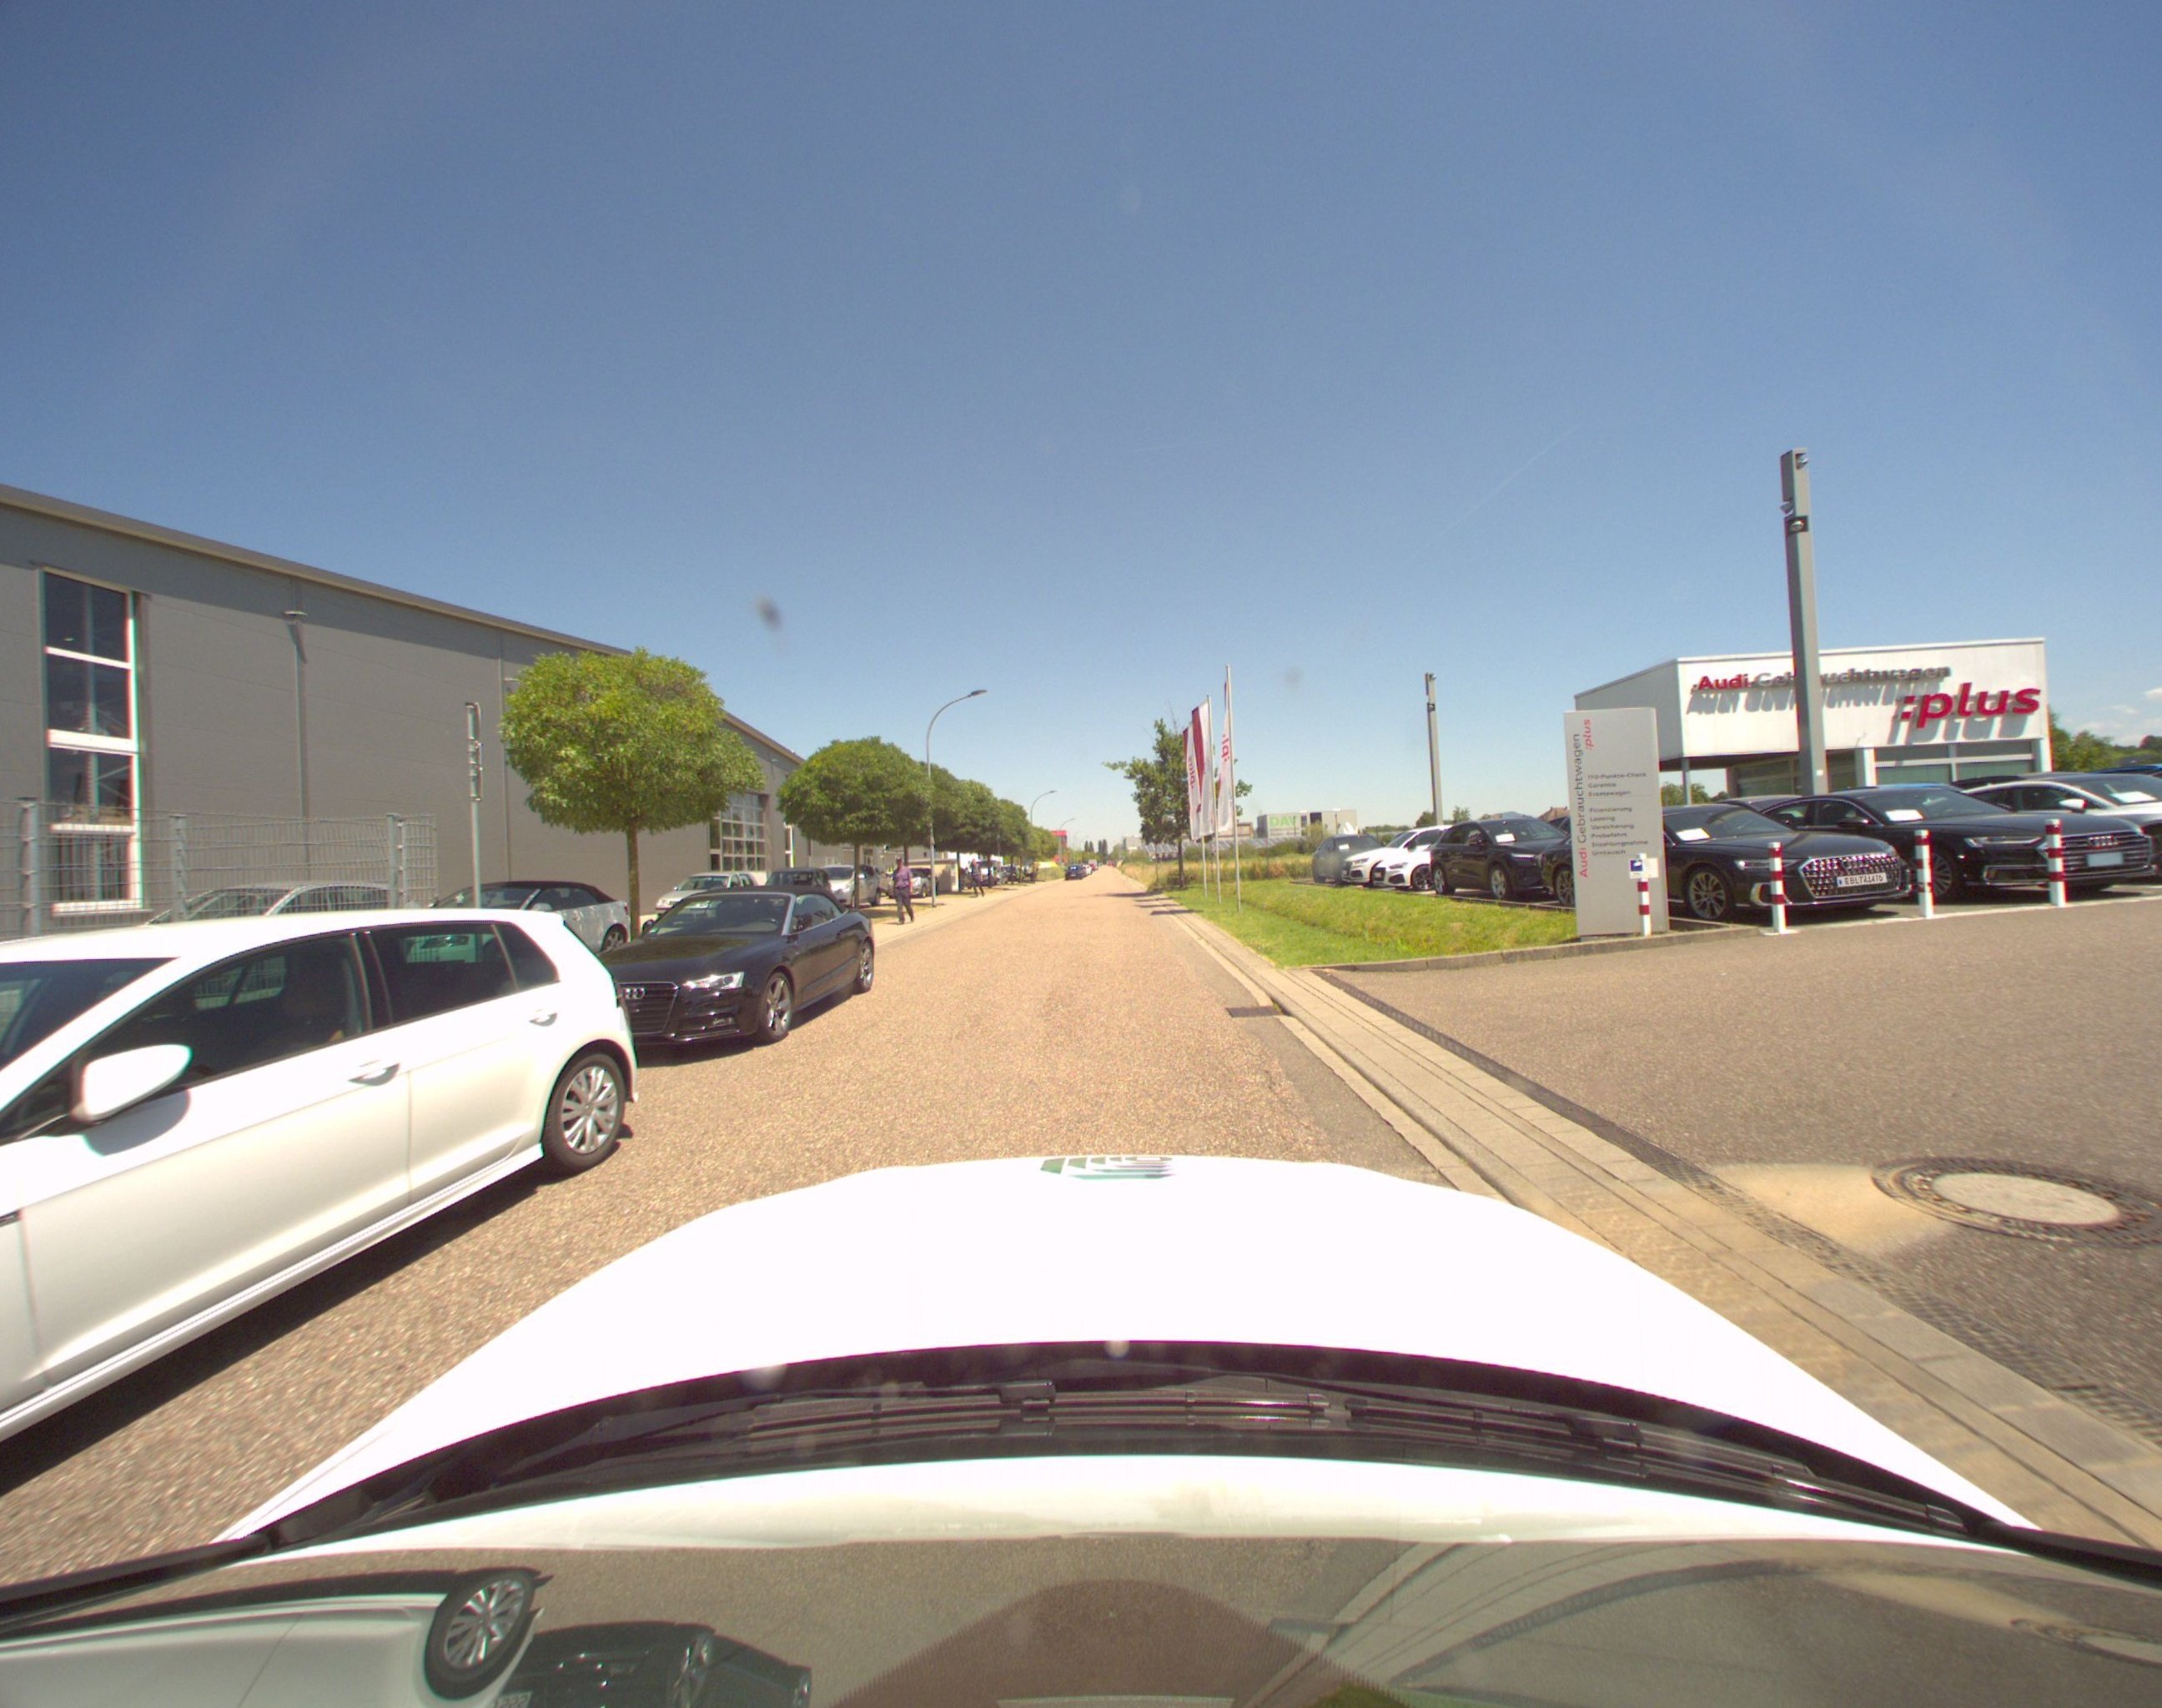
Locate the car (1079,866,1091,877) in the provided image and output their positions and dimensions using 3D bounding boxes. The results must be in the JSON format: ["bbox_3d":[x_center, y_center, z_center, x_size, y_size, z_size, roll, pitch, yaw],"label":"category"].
[{"bbox_3d":[0.642,2.713,127.627,1.780,1.520,3.984,-3,-1,2],"label":"car"}]

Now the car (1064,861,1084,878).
[{"bbox_3d":[-0.746,1.583,84.950,1.920,1.567,4.190,-3,-1,1],"label":"car"}]

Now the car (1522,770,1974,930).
[{"bbox_3d":[8.558,-0.016,11.342,2.017,1.514,5.242,-6,-1,2],"label":"car"}]

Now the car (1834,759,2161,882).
[{"bbox_3d":[13.994,-0.483,11.502,2.017,1.456,5.080,-6,-1,2],"label":"car"}]

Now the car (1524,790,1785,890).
[{"bbox_3d":[11.365,-0.223,16.681,2.017,1.590,4.781,-4,-1,2],"label":"car"}]

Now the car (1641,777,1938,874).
[{"bbox_3d":[14.251,-0.485,16.879,2.017,1.590,4.781,-4,-1,2],"label":"car"}]

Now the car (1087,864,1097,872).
[{"bbox_3d":[2.290,2.932,167.475,1.780,1.520,3.984,-3,-1,2],"label":"car"}]

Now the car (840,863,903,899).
[{"bbox_3d":[-10.304,1.299,40.345,1.728,1.628,4.351,-1,-1,3],"label":"car"}]

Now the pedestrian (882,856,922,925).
[{"bbox_3d":[-4.760,0.957,21.760,0.741,1.802,1.136,-1,-1,3],"label":"pedestrian"}]

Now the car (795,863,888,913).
[{"bbox_3d":[-8.363,1.134,28.855,1.758,1.573,4.542,-1,-1,2],"label":"car"}]

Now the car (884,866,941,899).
[{"bbox_3d":[-8.142,1.357,39.713,1.758,1.453,3.842,-1,-1,3],"label":"car"}]

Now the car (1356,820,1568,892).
[{"bbox_3d":[9.828,0.055,21.261,4.515,1.457,2.031,-4,-1,-1],"label":"car"}]

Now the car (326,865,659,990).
[{"bbox_3d":[-8.826,0.993,12.808,1.816,1.500,4.331,-3,-1,4],"label":"car"}]

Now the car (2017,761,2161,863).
[{"bbox_3d":[16.680,-0.712,11.095,2.017,1.456,5.080,-6,-1,2],"label":"car"}]

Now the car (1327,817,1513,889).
[{"bbox_3d":[9.854,-0.017,23.934,4.515,1.692,2.031,-4,-1,-1],"label":"car"}]

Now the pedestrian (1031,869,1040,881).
[{"bbox_3d":[-4.346,1.959,77.161,0.747,1.099,0.647,0,-1,5],"label":"pedestrian"}]

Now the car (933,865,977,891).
[{"bbox_3d":[-7.668,1.420,49.948,1.759,1.453,4.716,-3,-1,2],"label":"car"}]

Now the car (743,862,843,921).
[{"bbox_3d":[-8.316,1.027,23.805,1.679,1.500,3.700,-3,-1,-3],"label":"car"}]

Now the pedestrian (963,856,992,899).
[{"bbox_3d":[-4.821,1.070,37.974,0.832,1.972,0.971,-2,-1,41],"label":"pedestrian"}]

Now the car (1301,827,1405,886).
[{"bbox_3d":[9.249,0.106,28.196,2.016,1.692,5.112,-4,-1,3],"label":"car"}]

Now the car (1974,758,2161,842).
[{"bbox_3d":[22.526,-1.175,17.226,2.017,1.590,4.781,-4,-1,2],"label":"car"}]

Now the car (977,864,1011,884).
[{"bbox_3d":[-7.031,1.674,66.411,1.919,1.441,4.844,-3,-2,3],"label":"car"}]

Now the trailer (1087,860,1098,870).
[{"bbox_3d":[2.551,2.372,178.906,2.193,2.137,4.287,-3,-1,2],"label":"trailer"}]

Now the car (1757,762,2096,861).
[{"bbox_3d":[16.901,-0.735,16.764,2.017,1.590,4.781,-4,-1,2],"label":"car"}]

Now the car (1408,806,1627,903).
[{"bbox_3d":[8.699,0.028,16.836,2.017,1.573,4.781,-4,-1,2],"label":"car"}]

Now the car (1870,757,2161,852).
[{"bbox_3d":[19.786,-0.949,16.992,2.017,1.590,4.781,-4,-1,2],"label":"car"}]

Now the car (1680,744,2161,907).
[{"bbox_3d":[11.156,-0.303,11.165,1.889,1.573,5.478,-6,-1,2],"label":"car"}]

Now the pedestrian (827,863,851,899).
[{"bbox_3d":[-11.849,1.309,39.856,0.837,1.713,0.965,-1,-1,1],"label":"pedestrian"}]

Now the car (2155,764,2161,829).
[{"bbox_3d":[27.507,-1.519,17.700,2.017,1.590,4.781,-4,-1,2],"label":"car"}]

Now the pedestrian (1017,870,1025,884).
[{"bbox_3d":[-4.927,1.879,66.851,0.475,1.150,0.556,0,-3,12],"label":"pedestrian"}]

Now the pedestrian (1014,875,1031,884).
[{"bbox_3d":[-4.903,2.101,68.121,1.352,0.749,0.753,0,-1,3],"label":"pedestrian"}]

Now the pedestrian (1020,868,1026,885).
[{"bbox_3d":[-5.480,2.143,76.969,0.503,1.595,0.754,0,-1,4],"label":"pedestrian"}]

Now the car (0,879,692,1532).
[{"bbox_3d":[-3.500,0.941,3.058,1.817,1.500,4.261,-3,-1,2],"label":"car"}]

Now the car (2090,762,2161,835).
[{"bbox_3d":[25.104,-1.336,17.055,2.017,1.590,4.781,-4,-1,2],"label":"car"}]

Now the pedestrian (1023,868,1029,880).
[{"bbox_3d":[-5.277,1.947,78.591,0.503,1.191,0.754,0,-1,4],"label":"pedestrian"}]

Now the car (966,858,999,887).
[{"bbox_3d":[-7.268,1.353,60.700,1.831,2.019,5.124,0,-1,0],"label":"car"}]

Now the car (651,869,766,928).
[{"bbox_3d":[-10.577,1.205,23.442,1.678,1.500,3.701,-1,-1,-2],"label":"car"}]

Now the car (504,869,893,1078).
[{"bbox_3d":[-3.546,0.984,8.678,1.817,1.500,4.527,-3,-1,2],"label":"car"}]

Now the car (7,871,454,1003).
[{"bbox_3d":[-11.716,1.027,11.764,1.816,1.500,4.263,-1,-1,4],"label":"car"}]
